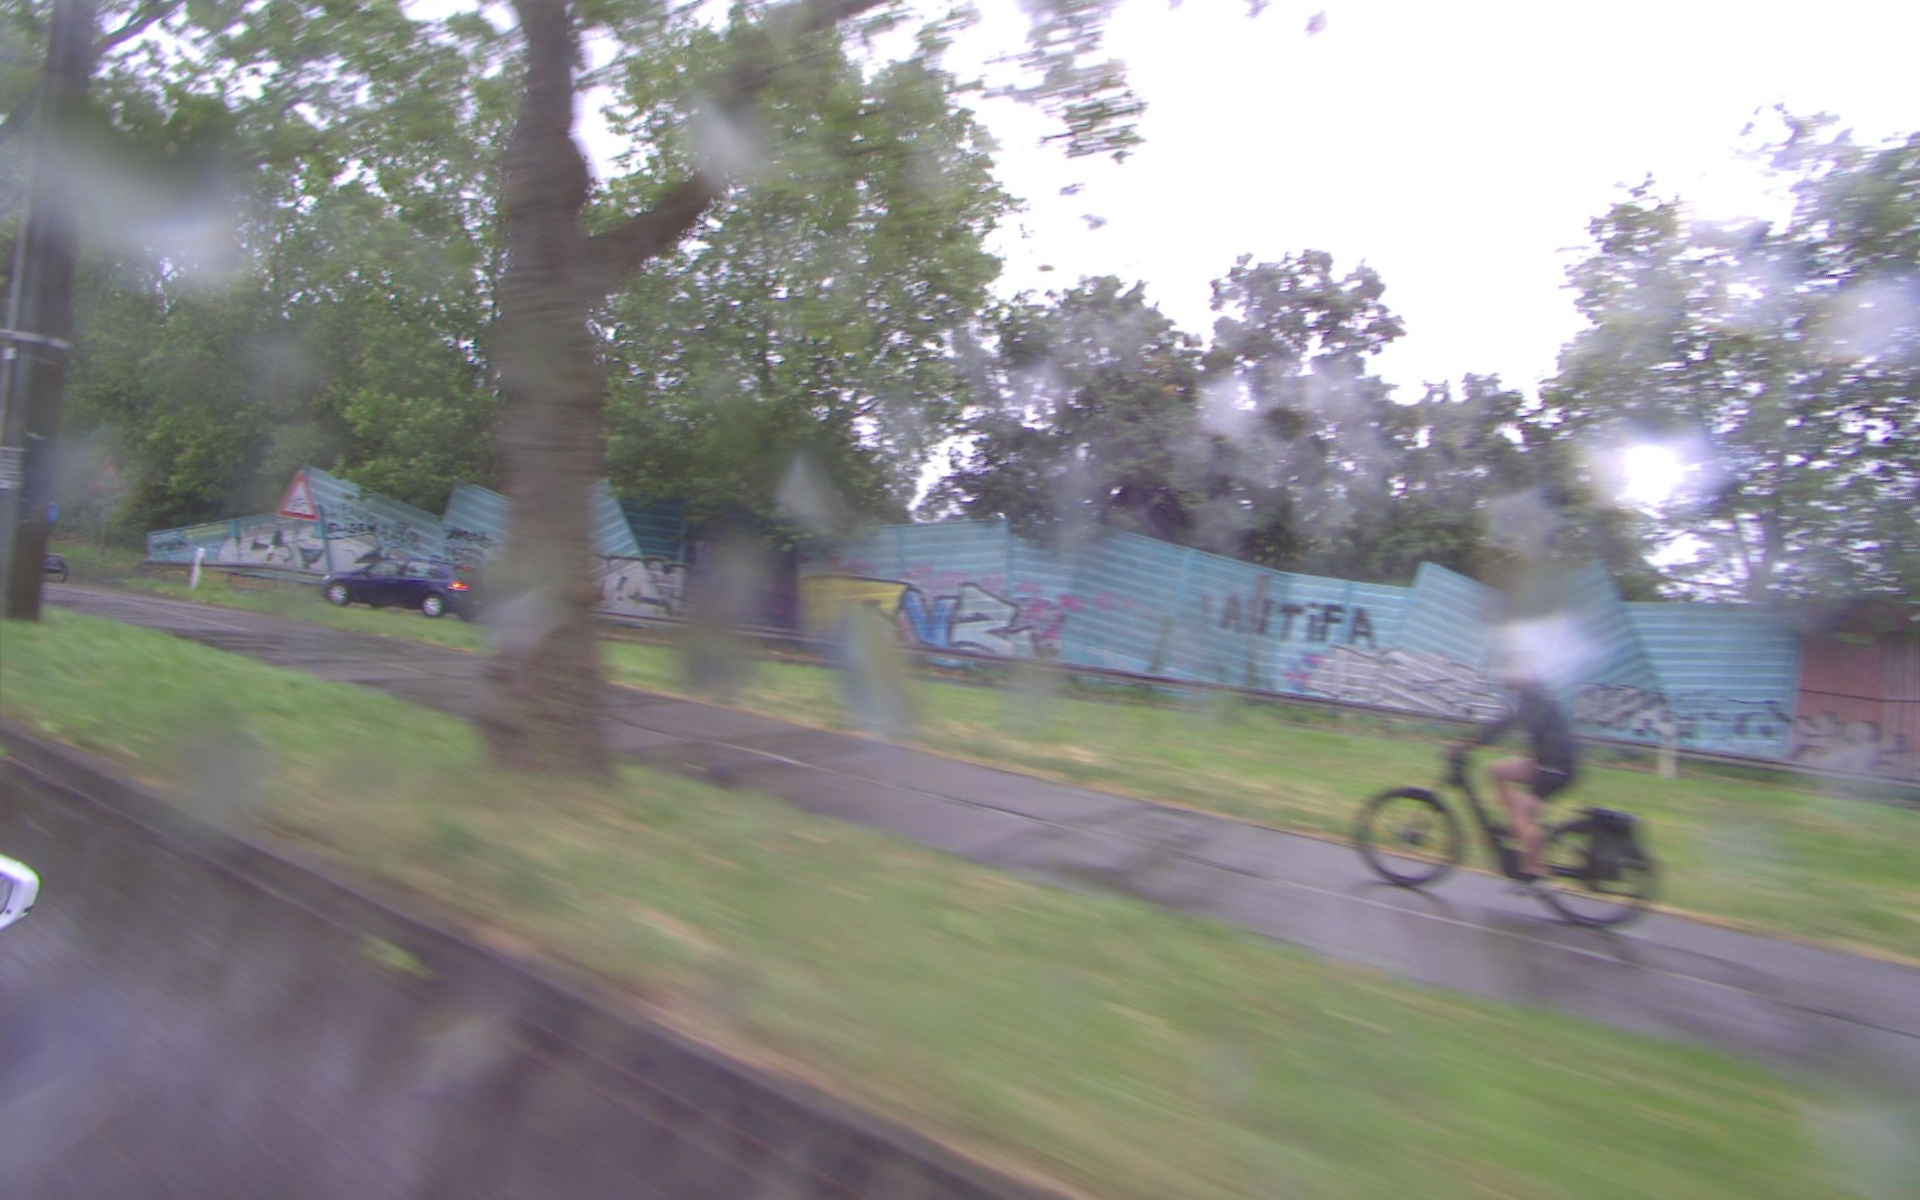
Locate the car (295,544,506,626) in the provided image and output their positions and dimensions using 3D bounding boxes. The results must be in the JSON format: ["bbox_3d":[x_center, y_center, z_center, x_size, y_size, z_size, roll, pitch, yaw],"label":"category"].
[{"bbox_3d":[-14.689,-0.366,26.553,4.431,1.555,1.870,7,0,4],"label":"car"}]
